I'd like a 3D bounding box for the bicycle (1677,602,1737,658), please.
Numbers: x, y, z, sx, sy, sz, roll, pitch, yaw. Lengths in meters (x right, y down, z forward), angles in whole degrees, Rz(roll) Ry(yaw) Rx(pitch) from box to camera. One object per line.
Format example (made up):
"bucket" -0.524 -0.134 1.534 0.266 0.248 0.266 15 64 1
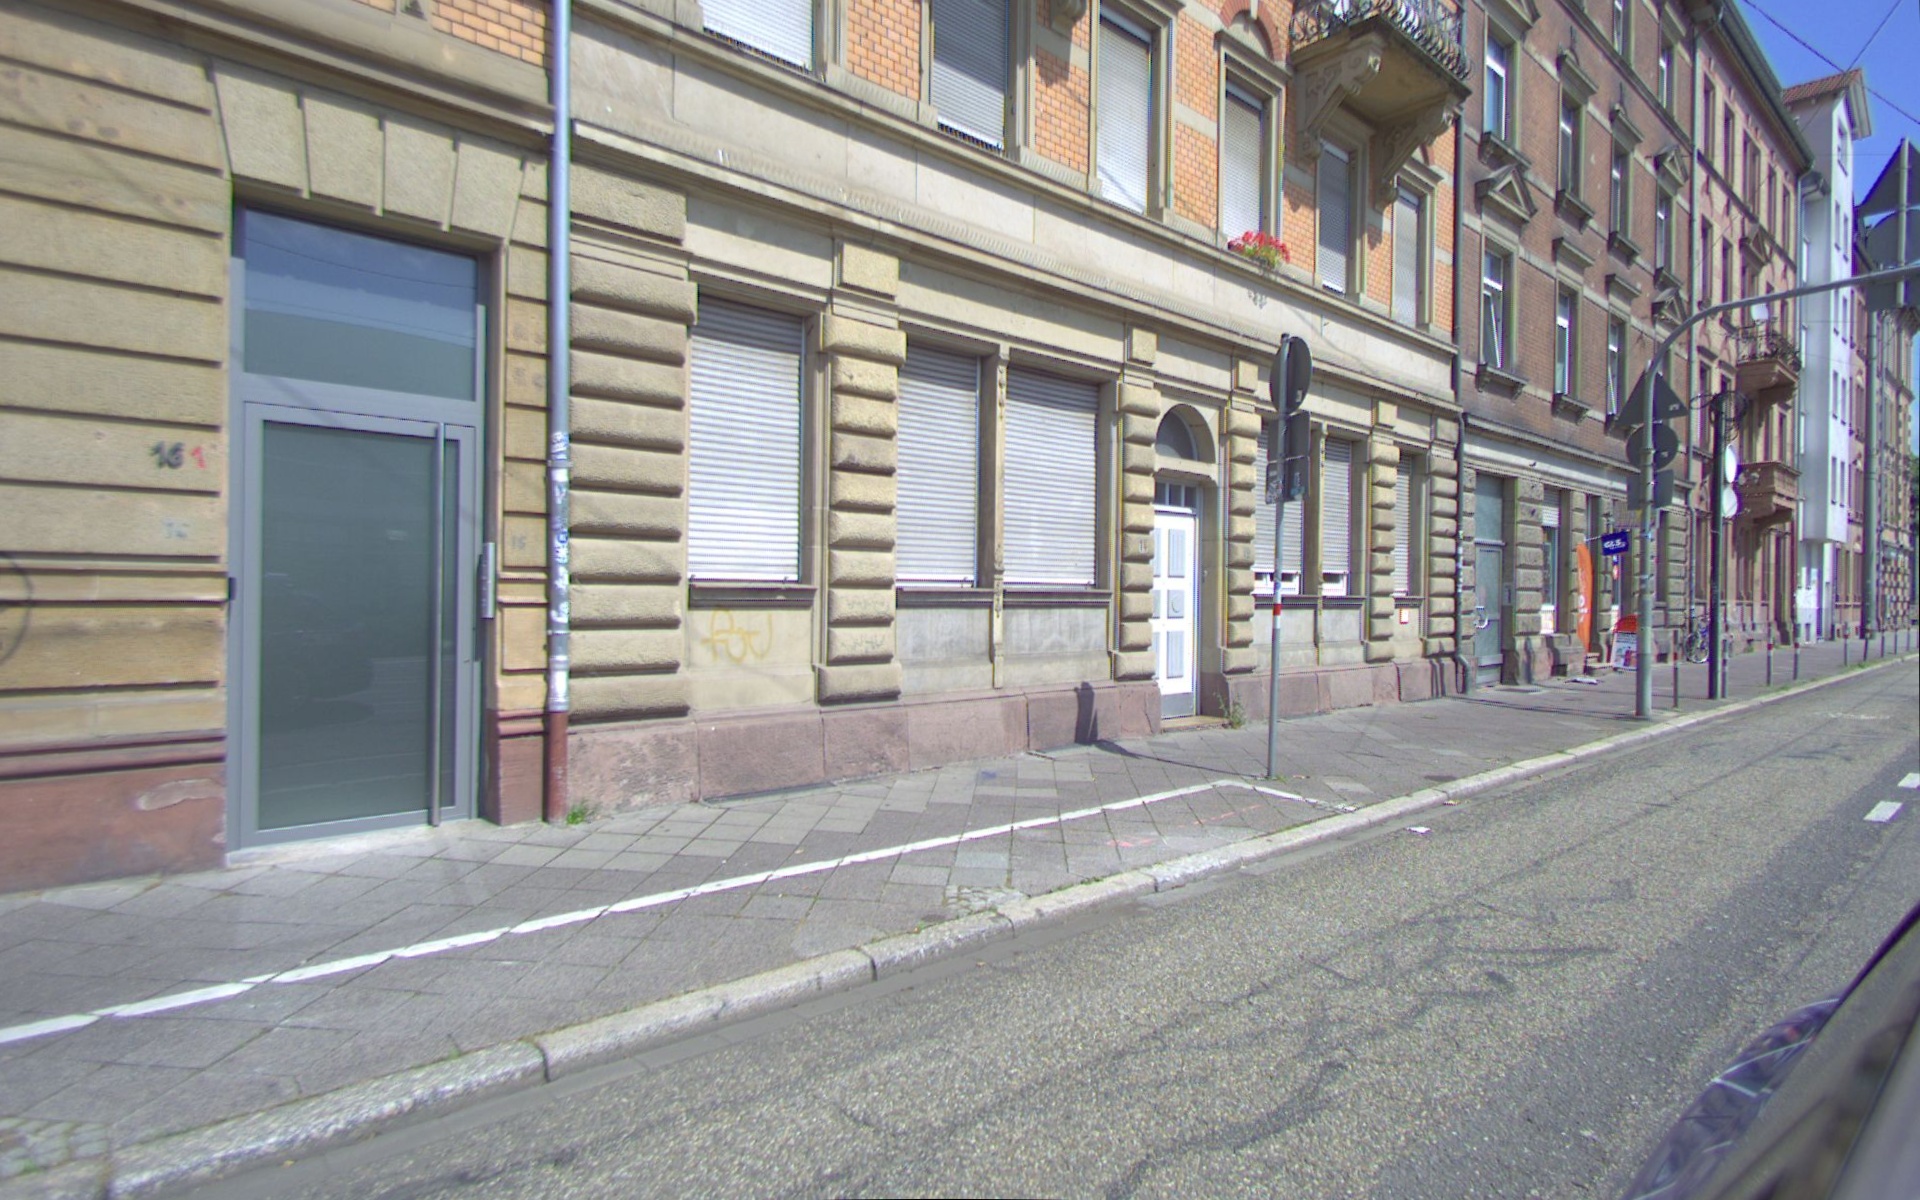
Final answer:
"bicycle" 16.783 0.655 22.712 2.166 1.193 0.587 0 1 -40
